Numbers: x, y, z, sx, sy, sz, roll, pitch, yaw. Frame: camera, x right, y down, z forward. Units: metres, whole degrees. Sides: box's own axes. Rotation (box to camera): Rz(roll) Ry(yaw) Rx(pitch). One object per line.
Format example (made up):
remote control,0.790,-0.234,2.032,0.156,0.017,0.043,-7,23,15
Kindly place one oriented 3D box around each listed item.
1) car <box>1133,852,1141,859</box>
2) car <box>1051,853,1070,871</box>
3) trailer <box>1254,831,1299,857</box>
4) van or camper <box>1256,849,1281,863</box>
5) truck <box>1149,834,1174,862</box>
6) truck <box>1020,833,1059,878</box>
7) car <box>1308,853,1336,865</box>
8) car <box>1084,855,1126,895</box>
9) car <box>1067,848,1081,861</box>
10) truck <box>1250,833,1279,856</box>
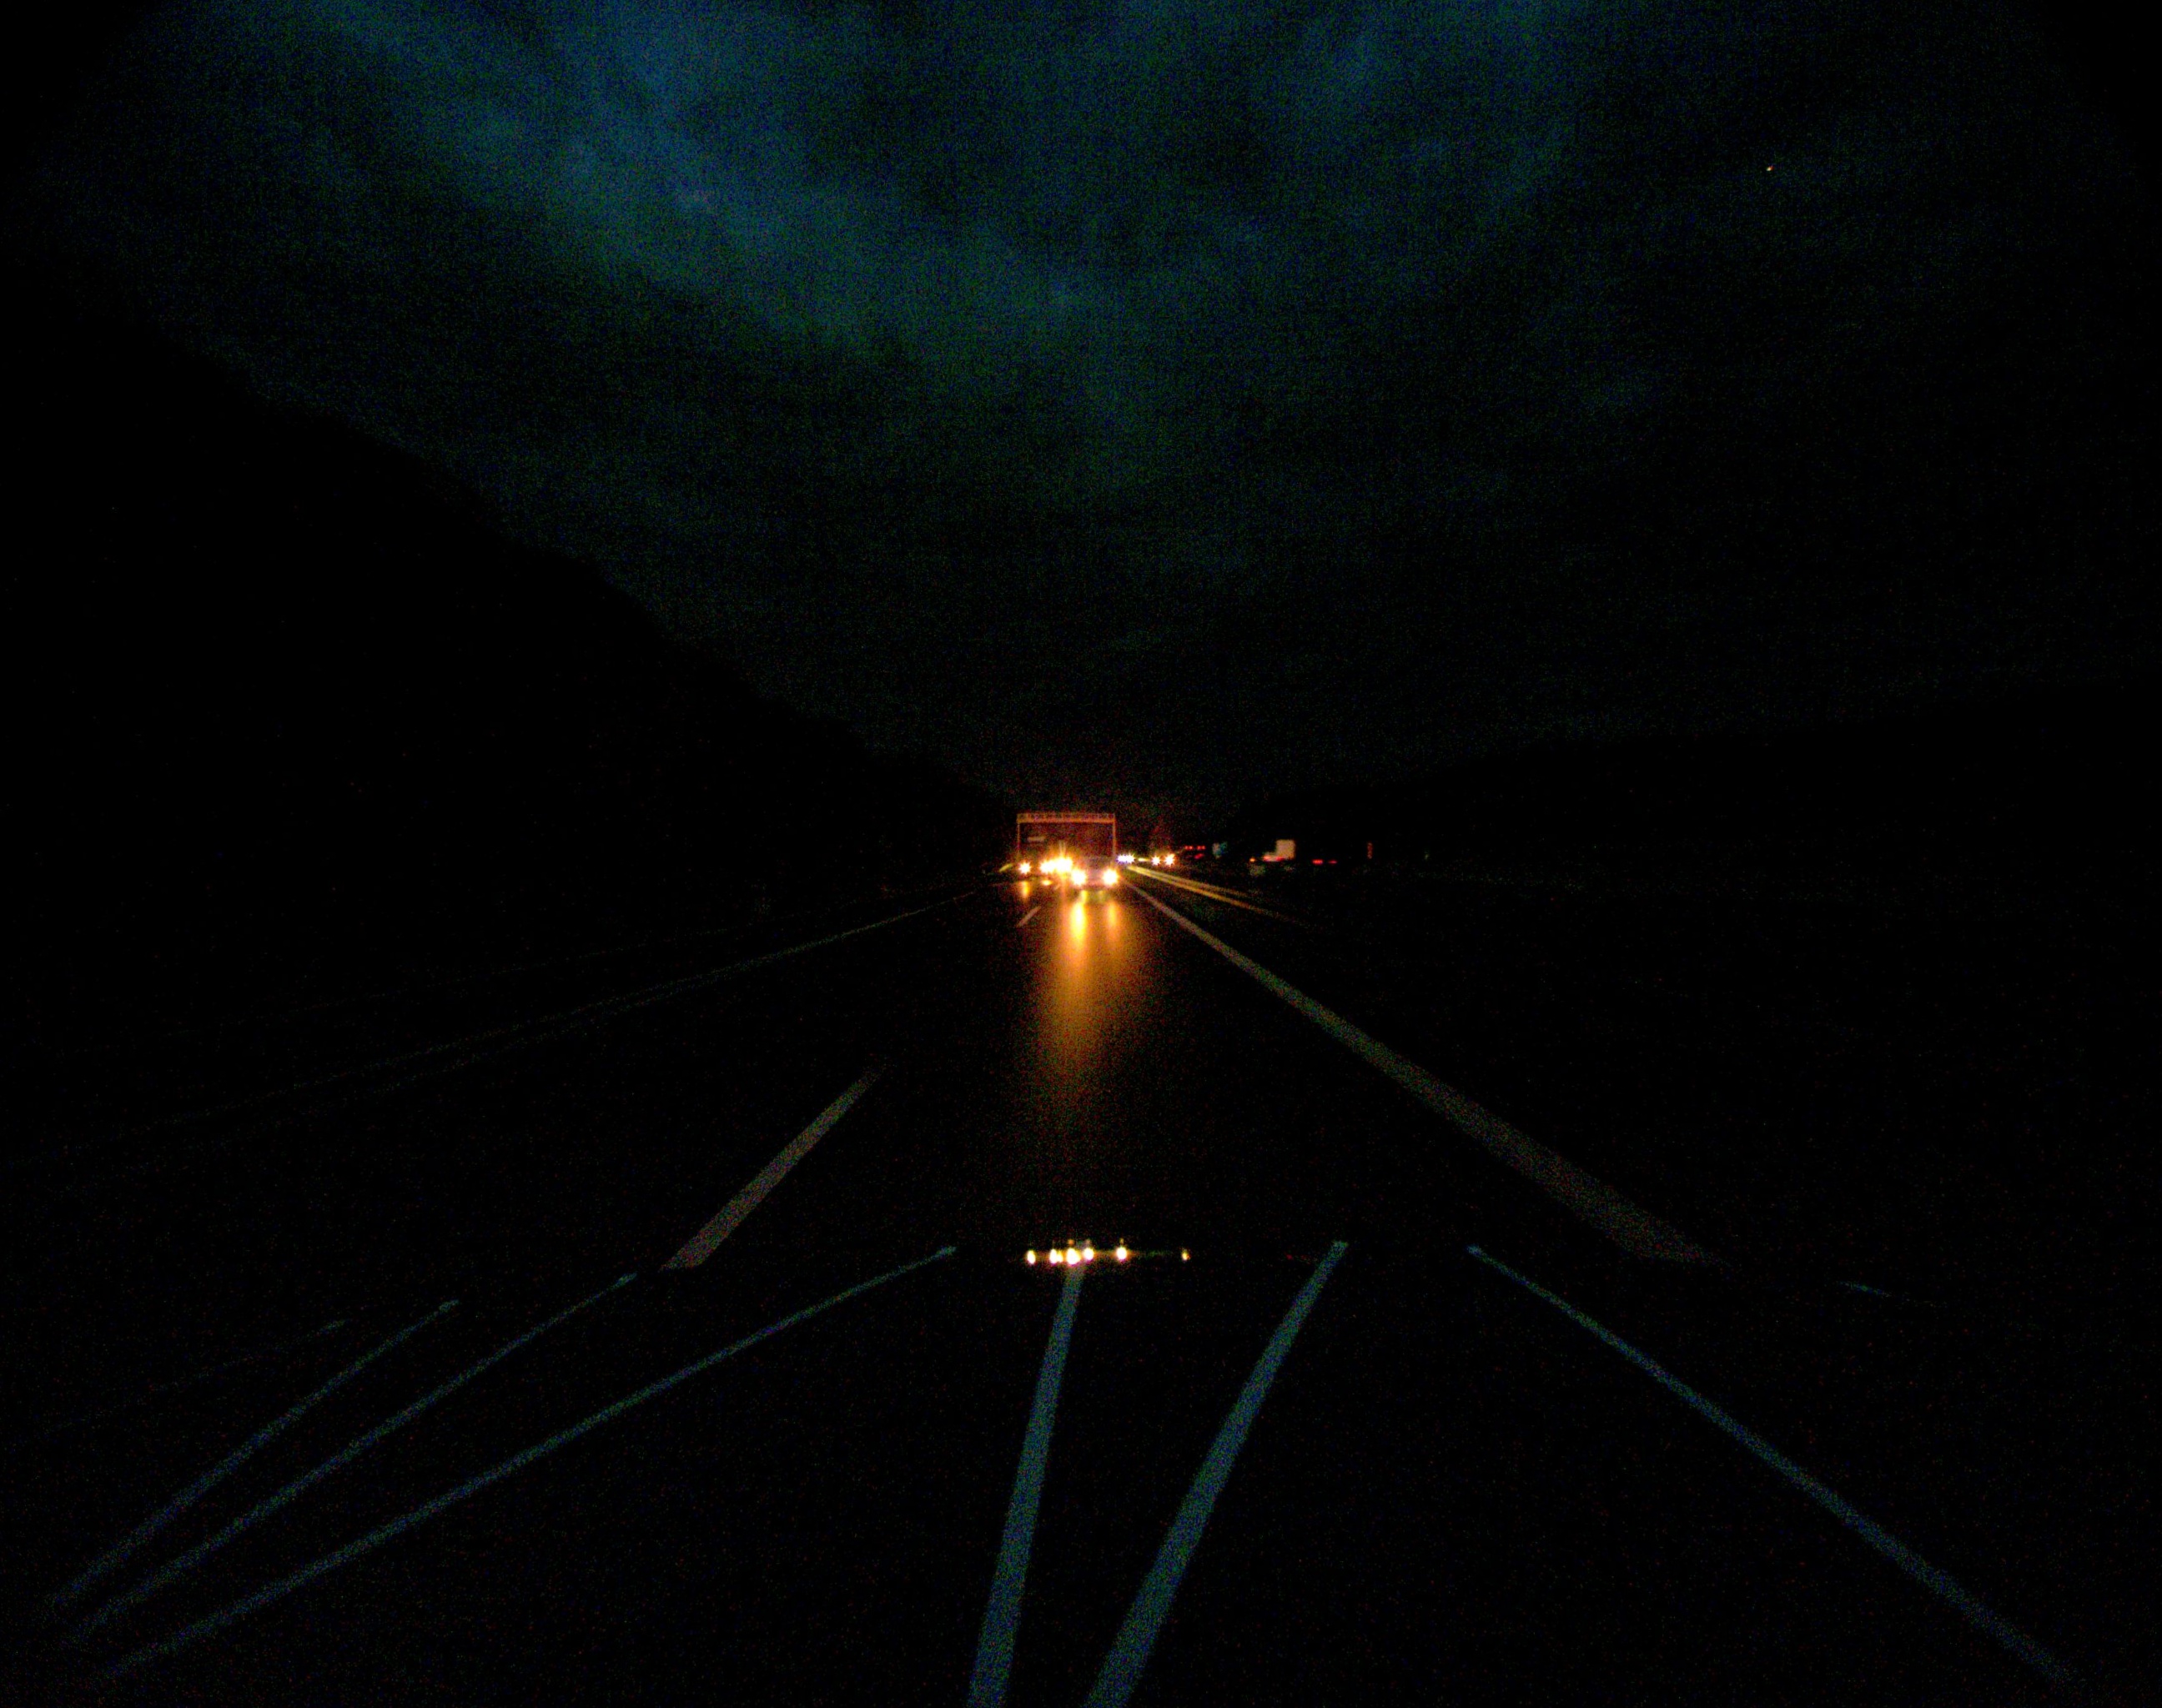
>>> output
car,13.770,0.417,187.369,1.833,1.674,4.228,-2,0,0
car,-1.741,0.666,66.099,1.615,1.547,3.318,0,1,-1
trailer,29.526,-1.512,115.525,3.335,3.743,13.884,0,1,0
van or camper,25.315,0.256,102.829,1.895,1.895,5.540,-1,0,-1
truck,12.949,-1.007,122.648,3.046,4.276,9.890,0,1,0
truck,-2.919,0.080,54.436,2.274,2.954,6.631,-2,0,0
car,26.007,0.534,82.253,1.756,1.243,4.212,0,1,1
car,0.957,0.808,31.628,1.669,1.551,3.756,0,0,1
car,-1.090,0.008,117.950,1.999,2.002,3.998,0,1,-2
truck,29.556,-1.516,122.681,3.318,3.598,5.496,0,1,0
